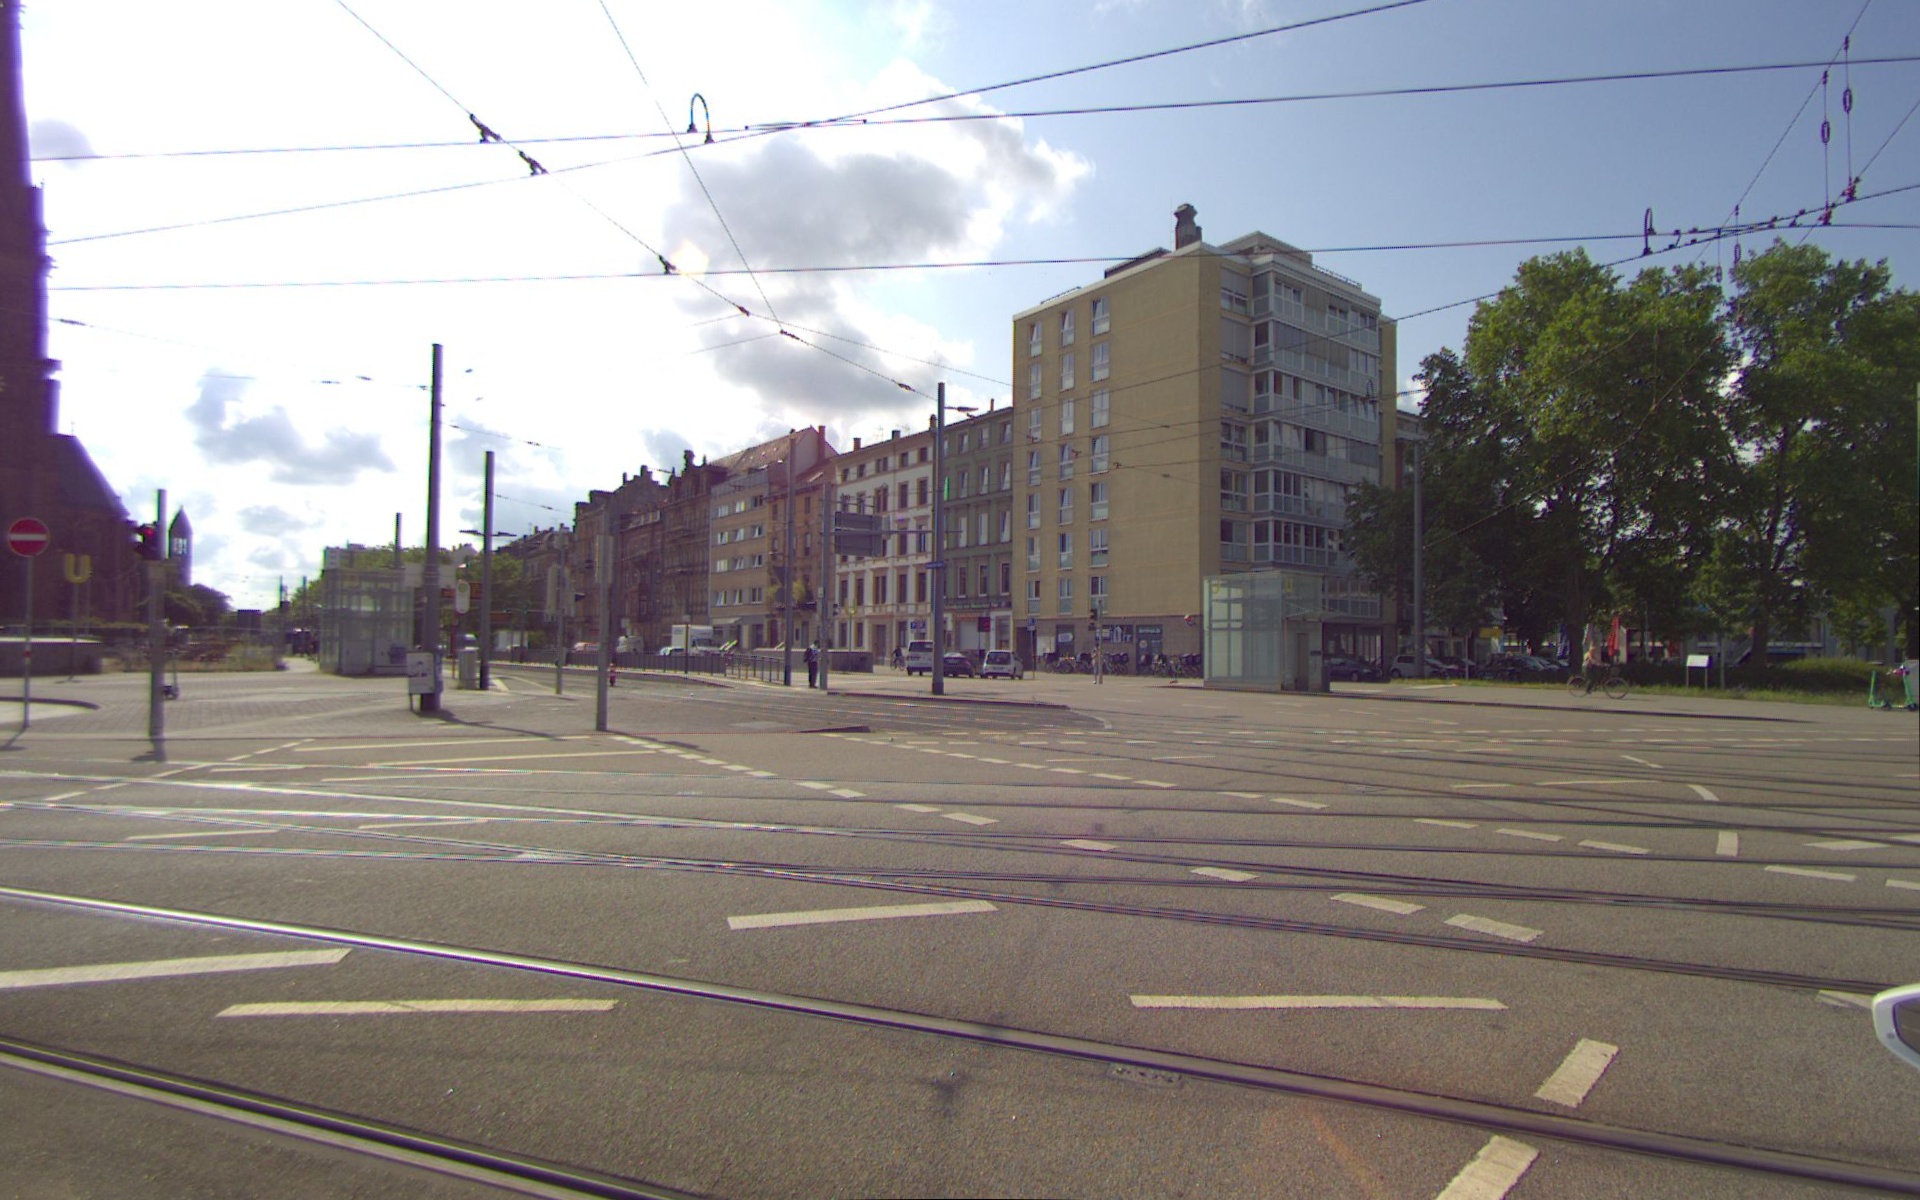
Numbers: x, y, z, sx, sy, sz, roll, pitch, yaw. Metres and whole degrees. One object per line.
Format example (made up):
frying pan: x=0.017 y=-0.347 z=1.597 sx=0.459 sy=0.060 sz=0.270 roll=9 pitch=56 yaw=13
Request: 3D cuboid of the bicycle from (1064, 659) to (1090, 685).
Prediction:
bicycle: x=6.804 y=4.173 z=58.388 sx=0.543 sy=1.218 sz=1.630 roll=-1 pitch=6 yaw=-32

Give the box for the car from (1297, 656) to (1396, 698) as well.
car: x=19.953 y=3.921 z=52.018 sx=1.982 sy=1.606 sz=4.343 roll=1 pitch=3 yaw=-38

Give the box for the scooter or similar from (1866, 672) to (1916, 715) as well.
scooter or similar: x=27.528 y=2.765 z=29.708 sx=0.911 sy=1.174 sz=0.381 roll=3 pitch=5 yaw=14

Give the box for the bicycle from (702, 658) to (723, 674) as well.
bicycle: x=-20.026 y=5.351 z=81.228 sx=0.367 sy=1.100 sz=1.755 roll=8 pitch=7 yaw=40

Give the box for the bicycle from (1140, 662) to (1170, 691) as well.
bicycle: x=10.390 y=4.066 z=53.624 sx=0.525 sy=1.289 sz=1.630 roll=-1 pitch=6 yaw=-32

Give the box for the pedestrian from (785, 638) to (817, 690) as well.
pedestrian: x=-5.577 y=2.228 z=35.224 sx=0.837 sy=1.696 sz=0.786 roll=-3 pitch=7 yaw=-38

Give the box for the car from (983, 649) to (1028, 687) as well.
car: x=2.385 y=3.481 z=51.938 sx=1.685 sy=1.460 sz=3.513 roll=4 pitch=4 yaw=12

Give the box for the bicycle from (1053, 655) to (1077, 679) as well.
bicycle: x=6.276 y=3.996 z=60.107 sx=0.482 sy=1.218 sz=1.630 roll=-1 pitch=6 yaw=-32

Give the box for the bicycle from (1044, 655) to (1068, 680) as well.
bicycle: x=5.733 y=4.023 z=59.957 sx=0.482 sy=1.218 sz=1.630 roll=-1 pitch=6 yaw=-32

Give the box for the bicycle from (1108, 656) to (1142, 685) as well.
bicycle: x=9.126 y=3.886 z=55.600 sx=0.484 sy=1.289 sz=1.864 roll=-3 pitch=7 yaw=-44

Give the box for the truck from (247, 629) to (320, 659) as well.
truck: x=-86.436 y=5.662 z=128.412 sx=7.399 sy=3.696 sz=2.440 roll=3 pitch=-4 yaw=-44

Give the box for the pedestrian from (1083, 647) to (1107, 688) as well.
pedestrian: x=6.067 y=3.016 z=45.085 sx=0.772 sy=1.782 sz=0.994 roll=-1 pitch=-3 yaw=29

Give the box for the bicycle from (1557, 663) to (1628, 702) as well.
bicycle: x=21.731 y=2.834 z=34.537 sx=1.963 sy=1.142 sz=0.785 roll=2 pitch=1 yaw=42

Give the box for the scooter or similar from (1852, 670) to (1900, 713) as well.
scooter or similar: x=27.611 y=2.760 z=30.296 sx=0.912 sy=1.174 sz=0.381 roll=4 pitch=5 yaw=26

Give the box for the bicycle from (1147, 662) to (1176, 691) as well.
bicycle: x=10.819 y=4.072 z=53.946 sx=0.482 sy=1.289 sz=1.630 roll=-1 pitch=6 yaw=-32

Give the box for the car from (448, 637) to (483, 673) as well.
car: x=-48.303 y=5.359 z=98.127 sx=1.981 sy=2.658 sz=5.520 roll=-4 pitch=7 yaw=-37

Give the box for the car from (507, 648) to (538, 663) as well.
car: x=-44.836 y=5.668 z=102.863 sx=1.983 sy=1.527 sz=3.957 roll=3 pitch=-4 yaw=-38

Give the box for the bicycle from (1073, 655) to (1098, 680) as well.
bicycle: x=7.299 y=3.925 z=58.640 sx=0.482 sy=1.218 sz=1.630 roll=-1 pitch=6 yaw=-32

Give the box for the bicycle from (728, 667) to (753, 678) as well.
bicycle: x=-16.966 y=5.603 z=77.597 sx=1.735 sy=0.594 sz=0.638 roll=3 pitch=5 yaw=13

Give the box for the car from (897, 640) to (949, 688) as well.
car: x=-2.056 y=3.608 z=57.432 sx=2.037 sy=2.113 sz=4.901 roll=3 pitch=3 yaw=8

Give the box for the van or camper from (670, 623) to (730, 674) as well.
van or camper: x=-22.960 y=4.191 z=88.395 sx=2.694 sy=3.376 sz=7.562 roll=-2 pitch=6 yaw=-35

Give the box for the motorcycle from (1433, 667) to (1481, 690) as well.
motorcycle: x=23.061 y=3.635 z=46.626 sx=1.856 sy=0.915 sz=0.605 roll=1 pitch=3 yaw=10

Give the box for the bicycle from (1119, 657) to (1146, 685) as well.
bicycle: x=9.548 y=3.897 z=55.621 sx=0.482 sy=1.289 sz=1.630 roll=-1 pitch=6 yaw=-32

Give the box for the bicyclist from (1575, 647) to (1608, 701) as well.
bicyclist: x=21.718 y=2.534 z=34.543 sx=0.816 sy=1.768 sz=0.708 roll=2 pitch=1 yaw=41

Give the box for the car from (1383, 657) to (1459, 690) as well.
car: x=26.971 y=4.276 z=58.882 sx=1.982 sy=1.550 sz=3.536 roll=1 pitch=1 yaw=-37

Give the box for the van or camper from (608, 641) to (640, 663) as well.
van or camper: x=-39.569 y=6.062 z=118.109 sx=1.981 sy=2.506 sz=5.508 roll=2 pitch=-4 yaw=-36

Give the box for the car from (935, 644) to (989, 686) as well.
car: x=0.166 y=3.440 z=53.934 sx=1.852 sy=1.489 sz=5.065 roll=3 pitch=5 yaw=11

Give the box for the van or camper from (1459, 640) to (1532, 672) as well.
van or camper: x=49.139 y=5.131 z=92.378 sx=2.355 sy=2.502 sz=5.872 roll=1 pitch=1 yaw=-18

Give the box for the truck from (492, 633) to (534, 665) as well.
truck: x=-53.298 y=5.772 z=119.657 sx=3.149 sy=3.330 sz=7.222 roll=-1 pitch=1 yaw=-36

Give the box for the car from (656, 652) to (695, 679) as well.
car: x=-23.825 y=5.431 z=83.982 sx=1.778 sy=1.457 sz=4.300 roll=-6 pitch=8 yaw=-34

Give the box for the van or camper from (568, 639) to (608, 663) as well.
van or camper: x=-34.689 y=4.691 z=93.604 sx=1.999 sy=1.940 sz=4.469 roll=1 pitch=1 yaw=-41
